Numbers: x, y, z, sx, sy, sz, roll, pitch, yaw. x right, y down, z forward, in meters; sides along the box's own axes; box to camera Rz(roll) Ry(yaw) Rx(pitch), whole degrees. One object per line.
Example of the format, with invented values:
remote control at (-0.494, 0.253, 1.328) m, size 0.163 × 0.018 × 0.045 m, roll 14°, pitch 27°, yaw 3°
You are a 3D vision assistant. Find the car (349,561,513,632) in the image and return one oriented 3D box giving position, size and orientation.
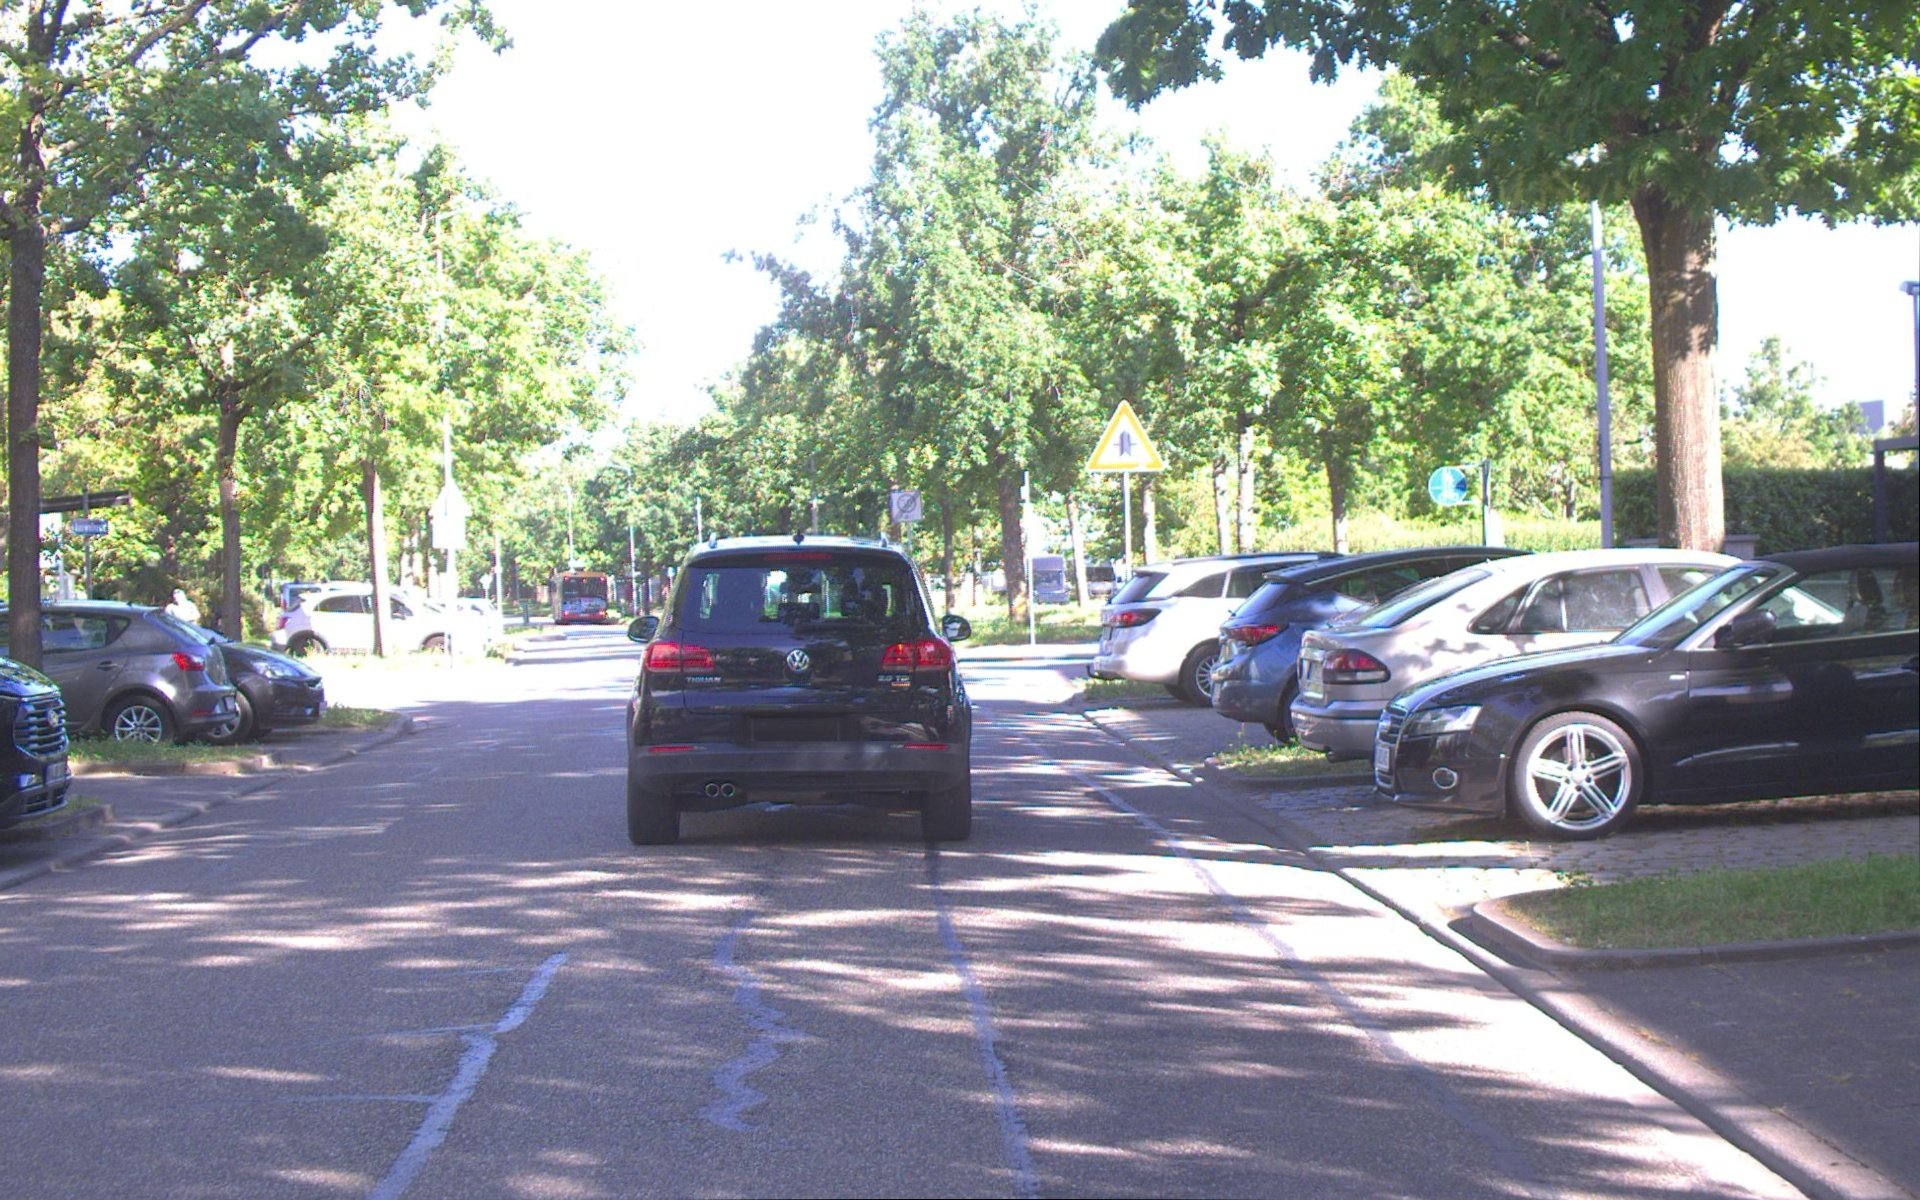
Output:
car at (-13.634, -0.106, 88.834) m, size 4.015 × 1.642 × 1.811 m, roll -3°, pitch 1°, yaw -5°

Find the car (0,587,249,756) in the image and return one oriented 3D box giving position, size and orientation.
car at (-8.650, 0.679, 31.661) m, size 3.818 × 1.414 × 1.772 m, roll -2°, pitch 1°, yaw -2°

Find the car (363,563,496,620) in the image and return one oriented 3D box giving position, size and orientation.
car at (-16.867, -0.285, 109.419) m, size 4.015 × 1.642 × 1.811 m, roll -3°, pitch 1°, yaw -5°

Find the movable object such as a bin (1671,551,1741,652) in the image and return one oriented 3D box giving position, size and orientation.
movable object such as a bin at (7.934, 0.015, 36.590) m, size 0.534 × 1.041 × 0.700 m, roll -2°, pitch 1°, yaw -3°

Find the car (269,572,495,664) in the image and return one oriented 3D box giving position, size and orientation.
car at (-11.473, 0.341, 68.443) m, size 4.241 × 1.617 × 1.897 m, roll -3°, pitch 1°, yaw -5°

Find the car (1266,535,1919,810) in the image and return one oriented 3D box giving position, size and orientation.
car at (4.101, 0.399, 20.788) m, size 4.276 × 1.409 × 1.797 m, roll -3°, pitch 1°, yaw 0°

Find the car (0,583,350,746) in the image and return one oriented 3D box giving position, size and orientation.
car at (-8.271, 0.650, 34.738) m, size 3.857 × 1.454 × 1.713 m, roll -2°, pitch 1°, yaw 0°

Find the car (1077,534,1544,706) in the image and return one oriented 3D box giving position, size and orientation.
car at (3.459, 0.182, 34.481) m, size 4.428 × 1.486 × 1.797 m, roll -3°, pitch 1°, yaw 0°

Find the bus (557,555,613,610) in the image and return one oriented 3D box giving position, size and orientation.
bus at (-21.567, -1.003, 197.829) m, size 2.928 × 2.993 × 5.738 m, roll -2°, pitch 0°, yaw -5°

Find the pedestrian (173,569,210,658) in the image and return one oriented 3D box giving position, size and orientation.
pedestrian at (-13.635, 0.228, 61.008) m, size 0.441 × 1.551 × 0.801 m, roll -2°, pitch 1°, yaw -3°

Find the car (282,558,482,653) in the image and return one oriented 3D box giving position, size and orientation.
car at (-12.354, 0.103, 73.621) m, size 4.015 × 1.833 × 1.897 m, roll -3°, pitch 1°, yaw -5°

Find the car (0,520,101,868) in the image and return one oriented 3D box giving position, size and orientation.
car at (-7.579, 0.535, 19.786) m, size 4.778 × 1.910 × 2.019 m, roll -1°, pitch 1°, yaw -2°

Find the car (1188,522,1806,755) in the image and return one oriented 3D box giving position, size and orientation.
car at (3.942, 0.262, 25.749) m, size 4.276 × 1.498 × 1.797 m, roll -3°, pitch 1°, yaw 0°

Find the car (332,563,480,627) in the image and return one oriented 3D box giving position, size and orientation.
car at (-15.887, -0.164, 98.817) m, size 4.015 × 1.642 × 1.811 m, roll -3°, pitch 1°, yaw -5°

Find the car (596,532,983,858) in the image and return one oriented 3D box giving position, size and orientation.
car at (-0.857, 0.463, 19.520) m, size 1.838 × 1.631 × 3.958 m, roll -1°, pitch 1°, yaw 2°

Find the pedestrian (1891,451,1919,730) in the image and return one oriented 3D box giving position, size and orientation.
pedestrian at (6.712, -0.069, 23.096) m, size 0.608 × 1.867 × 0.924 m, roll -2°, pitch 0°, yaw 1°

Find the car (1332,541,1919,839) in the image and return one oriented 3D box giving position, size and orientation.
car at (4.265, 0.405, 18.010) m, size 4.346 × 1.358 × 1.873 m, roll -3°, pitch 0°, yaw -1°
